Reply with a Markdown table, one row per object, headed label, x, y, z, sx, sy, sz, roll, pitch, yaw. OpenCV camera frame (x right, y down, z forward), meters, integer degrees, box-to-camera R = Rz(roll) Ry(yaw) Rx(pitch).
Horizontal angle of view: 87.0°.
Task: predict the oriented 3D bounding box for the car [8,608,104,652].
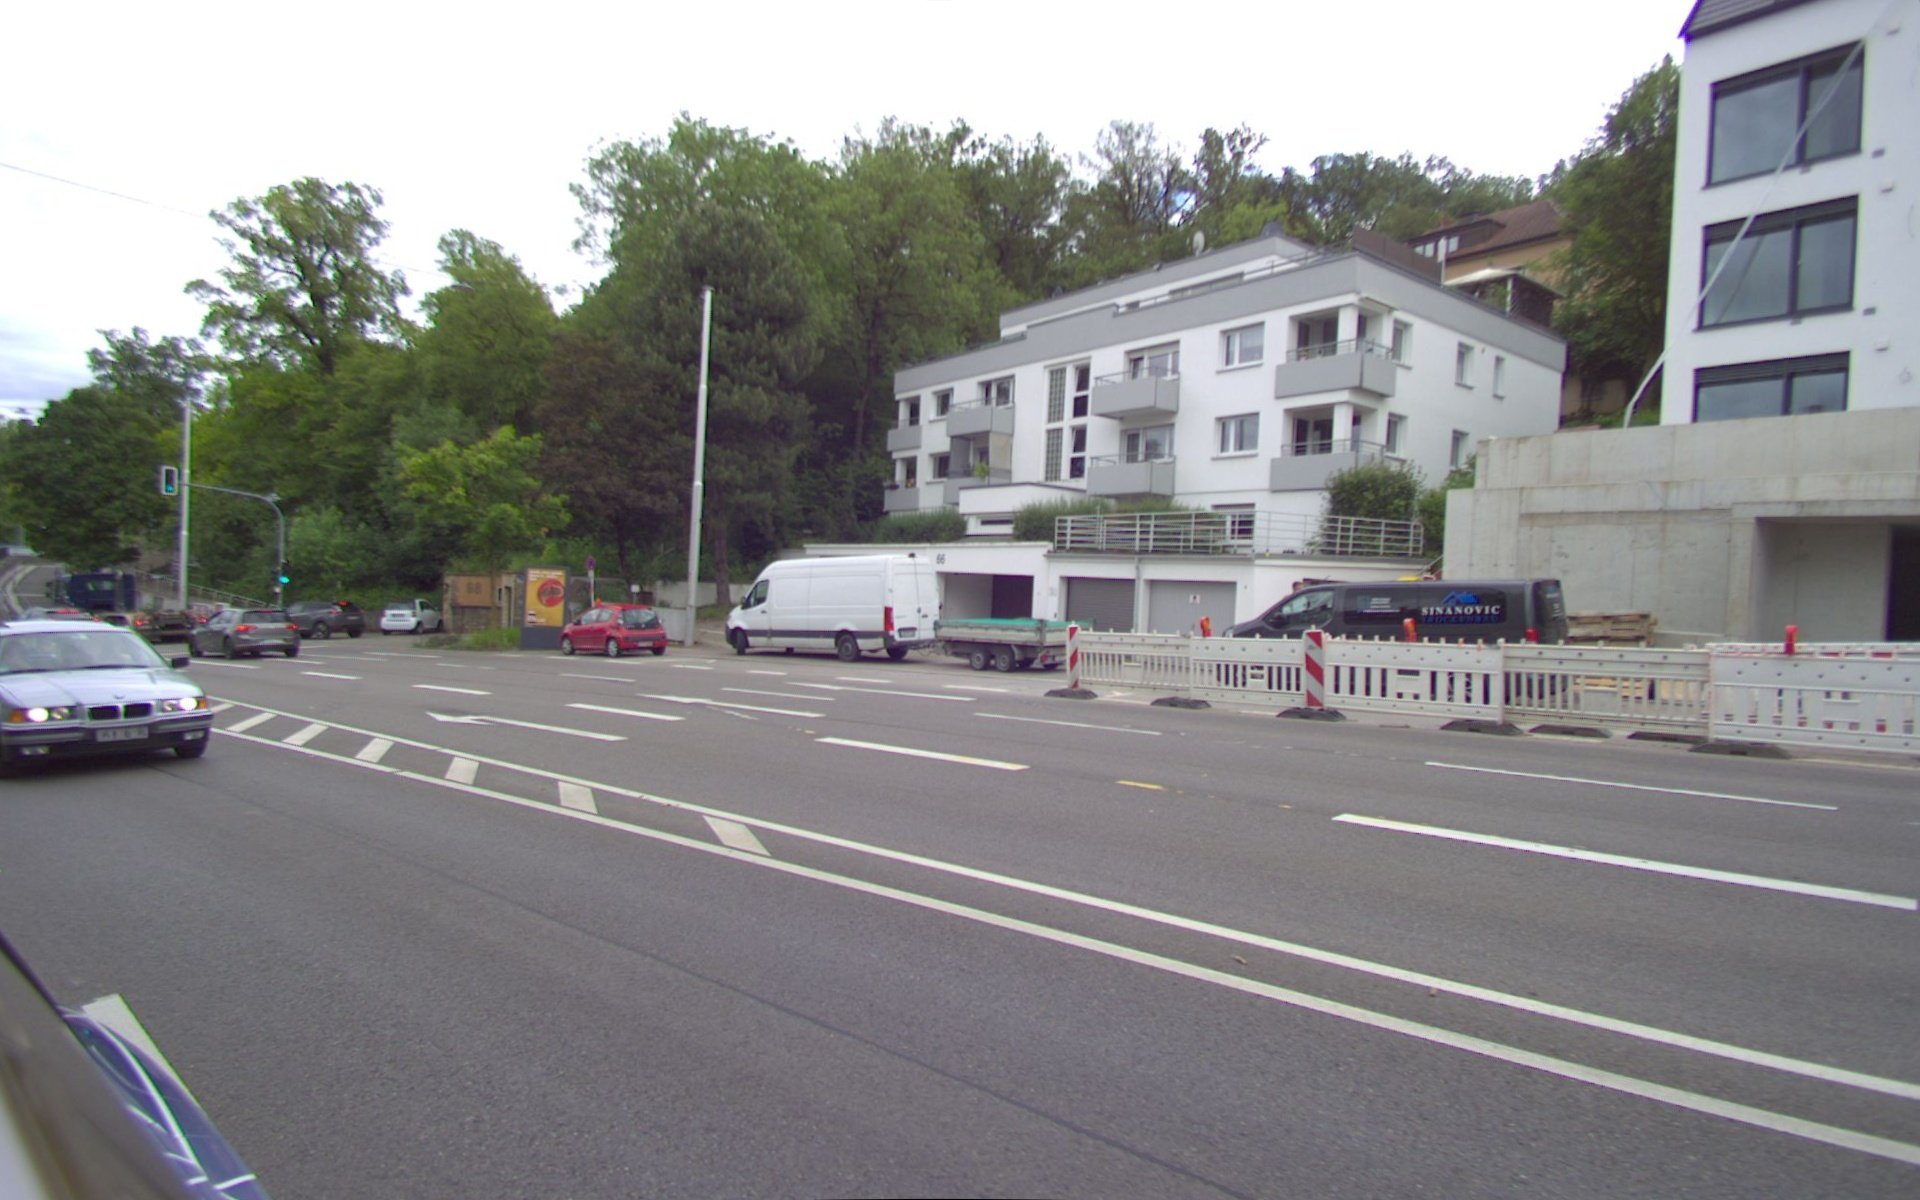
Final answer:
| label | x | y | z | sx | sy | sz | roll | pitch | yaw |
| --- | --- | --- | --- | --- | --- | --- | --- | --- | --- |
| car | -32.763 | 1.057 | 36.637 | 4.476 | 1.508 | 1.681 | -1 | 0 | 36 |

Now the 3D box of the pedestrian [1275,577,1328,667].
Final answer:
| label | x | y | z | sx | sy | sz | roll | pitch | yaw |
| --- | --- | --- | --- | --- | --- | --- | --- | --- | --- |
| pedestrian | 6.477 | 0.405 | 19.208 | 0.617 | 1.652 | 0.674 | -2 | 1 | -21 |

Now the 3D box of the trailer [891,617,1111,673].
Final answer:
| label | x | y | z | sx | sy | sz | roll | pitch | yaw |
| --- | --- | --- | --- | --- | --- | --- | --- | --- | --- |
| trailer | 0.856 | 0.952 | 22.884 | 4.619 | 1.120 | 2.223 | -1 | -1 | 40 |

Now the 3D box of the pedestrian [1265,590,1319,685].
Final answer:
| label | x | y | z | sx | sy | sz | roll | pitch | yaw |
| --- | --- | --- | --- | --- | --- | --- | --- | --- | --- |
| pedestrian | 5.990 | 0.661 | 18.280 | 0.661 | 1.652 | 0.677 | -2 | 1 | -8 |

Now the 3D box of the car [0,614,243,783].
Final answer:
| label | x | y | z | sx | sy | sz | roll | pitch | yaw |
| --- | --- | --- | --- | --- | --- | --- | --- | --- | --- |
| car | -9.483 | 0.865 | 10.645 | 4.604 | 1.404 | 1.738 | -1 | 0 | 35 |

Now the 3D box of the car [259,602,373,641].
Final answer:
| label | x | y | z | sx | sy | sz | roll | pitch | yaw |
| --- | --- | --- | --- | --- | --- | --- | --- | --- | --- |
| car | -26.366 | 0.876 | 41.451 | 4.093 | 1.551 | 1.591 | -1 | -1 | 14 |

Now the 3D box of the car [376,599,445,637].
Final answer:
| label | x | y | z | sx | sy | sz | roll | pitch | yaw |
| --- | --- | --- | --- | --- | --- | --- | --- | --- | --- |
| car | -24.414 | 0.761 | 45.014 | 1.542 | 1.531 | 2.711 | 0 | 2 | 1 |

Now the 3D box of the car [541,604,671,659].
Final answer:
| label | x | y | z | sx | sy | sz | roll | pitch | yaw |
| --- | --- | --- | --- | --- | --- | --- | --- | --- | --- |
| car | -10.167 | 0.864 | 28.950 | 3.919 | 1.476 | 1.607 | -1 | -1 | 37 |

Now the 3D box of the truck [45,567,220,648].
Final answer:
| label | x | y | z | sx | sy | sz | roll | pitch | yaw |
| --- | --- | --- | --- | --- | --- | --- | --- | --- | --- |
| truck | -33.822 | 0.328 | 41.236 | 8.951 | 2.993 | 2.938 | -1 | 0 | 33 |

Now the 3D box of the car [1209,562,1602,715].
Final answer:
| label | x | y | z | sx | sy | sz | roll | pitch | yaw |
| --- | --- | --- | --- | --- | --- | --- | --- | --- | --- |
| car | 6.666 | 0.529 | 15.662 | 1.959 | 1.982 | 5.221 | 0 | -1 | -45 |

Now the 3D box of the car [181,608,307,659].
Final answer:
| label | x | y | z | sx | sy | sz | roll | pitch | yaw |
| --- | --- | --- | --- | --- | --- | --- | --- | --- | --- |
| car | -21.051 | 0.938 | 29.708 | 4.276 | 1.404 | 1.826 | -1 | -1 | 37 |

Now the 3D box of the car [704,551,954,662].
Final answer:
| label | x | y | z | sx | sy | sz | roll | pitch | yaw |
| --- | --- | --- | --- | --- | --- | --- | --- | --- | --- |
| car | -3.669 | 0.191 | 26.891 | 7.417 | 2.587 | 2.208 | -1 | -1 | 41 |
